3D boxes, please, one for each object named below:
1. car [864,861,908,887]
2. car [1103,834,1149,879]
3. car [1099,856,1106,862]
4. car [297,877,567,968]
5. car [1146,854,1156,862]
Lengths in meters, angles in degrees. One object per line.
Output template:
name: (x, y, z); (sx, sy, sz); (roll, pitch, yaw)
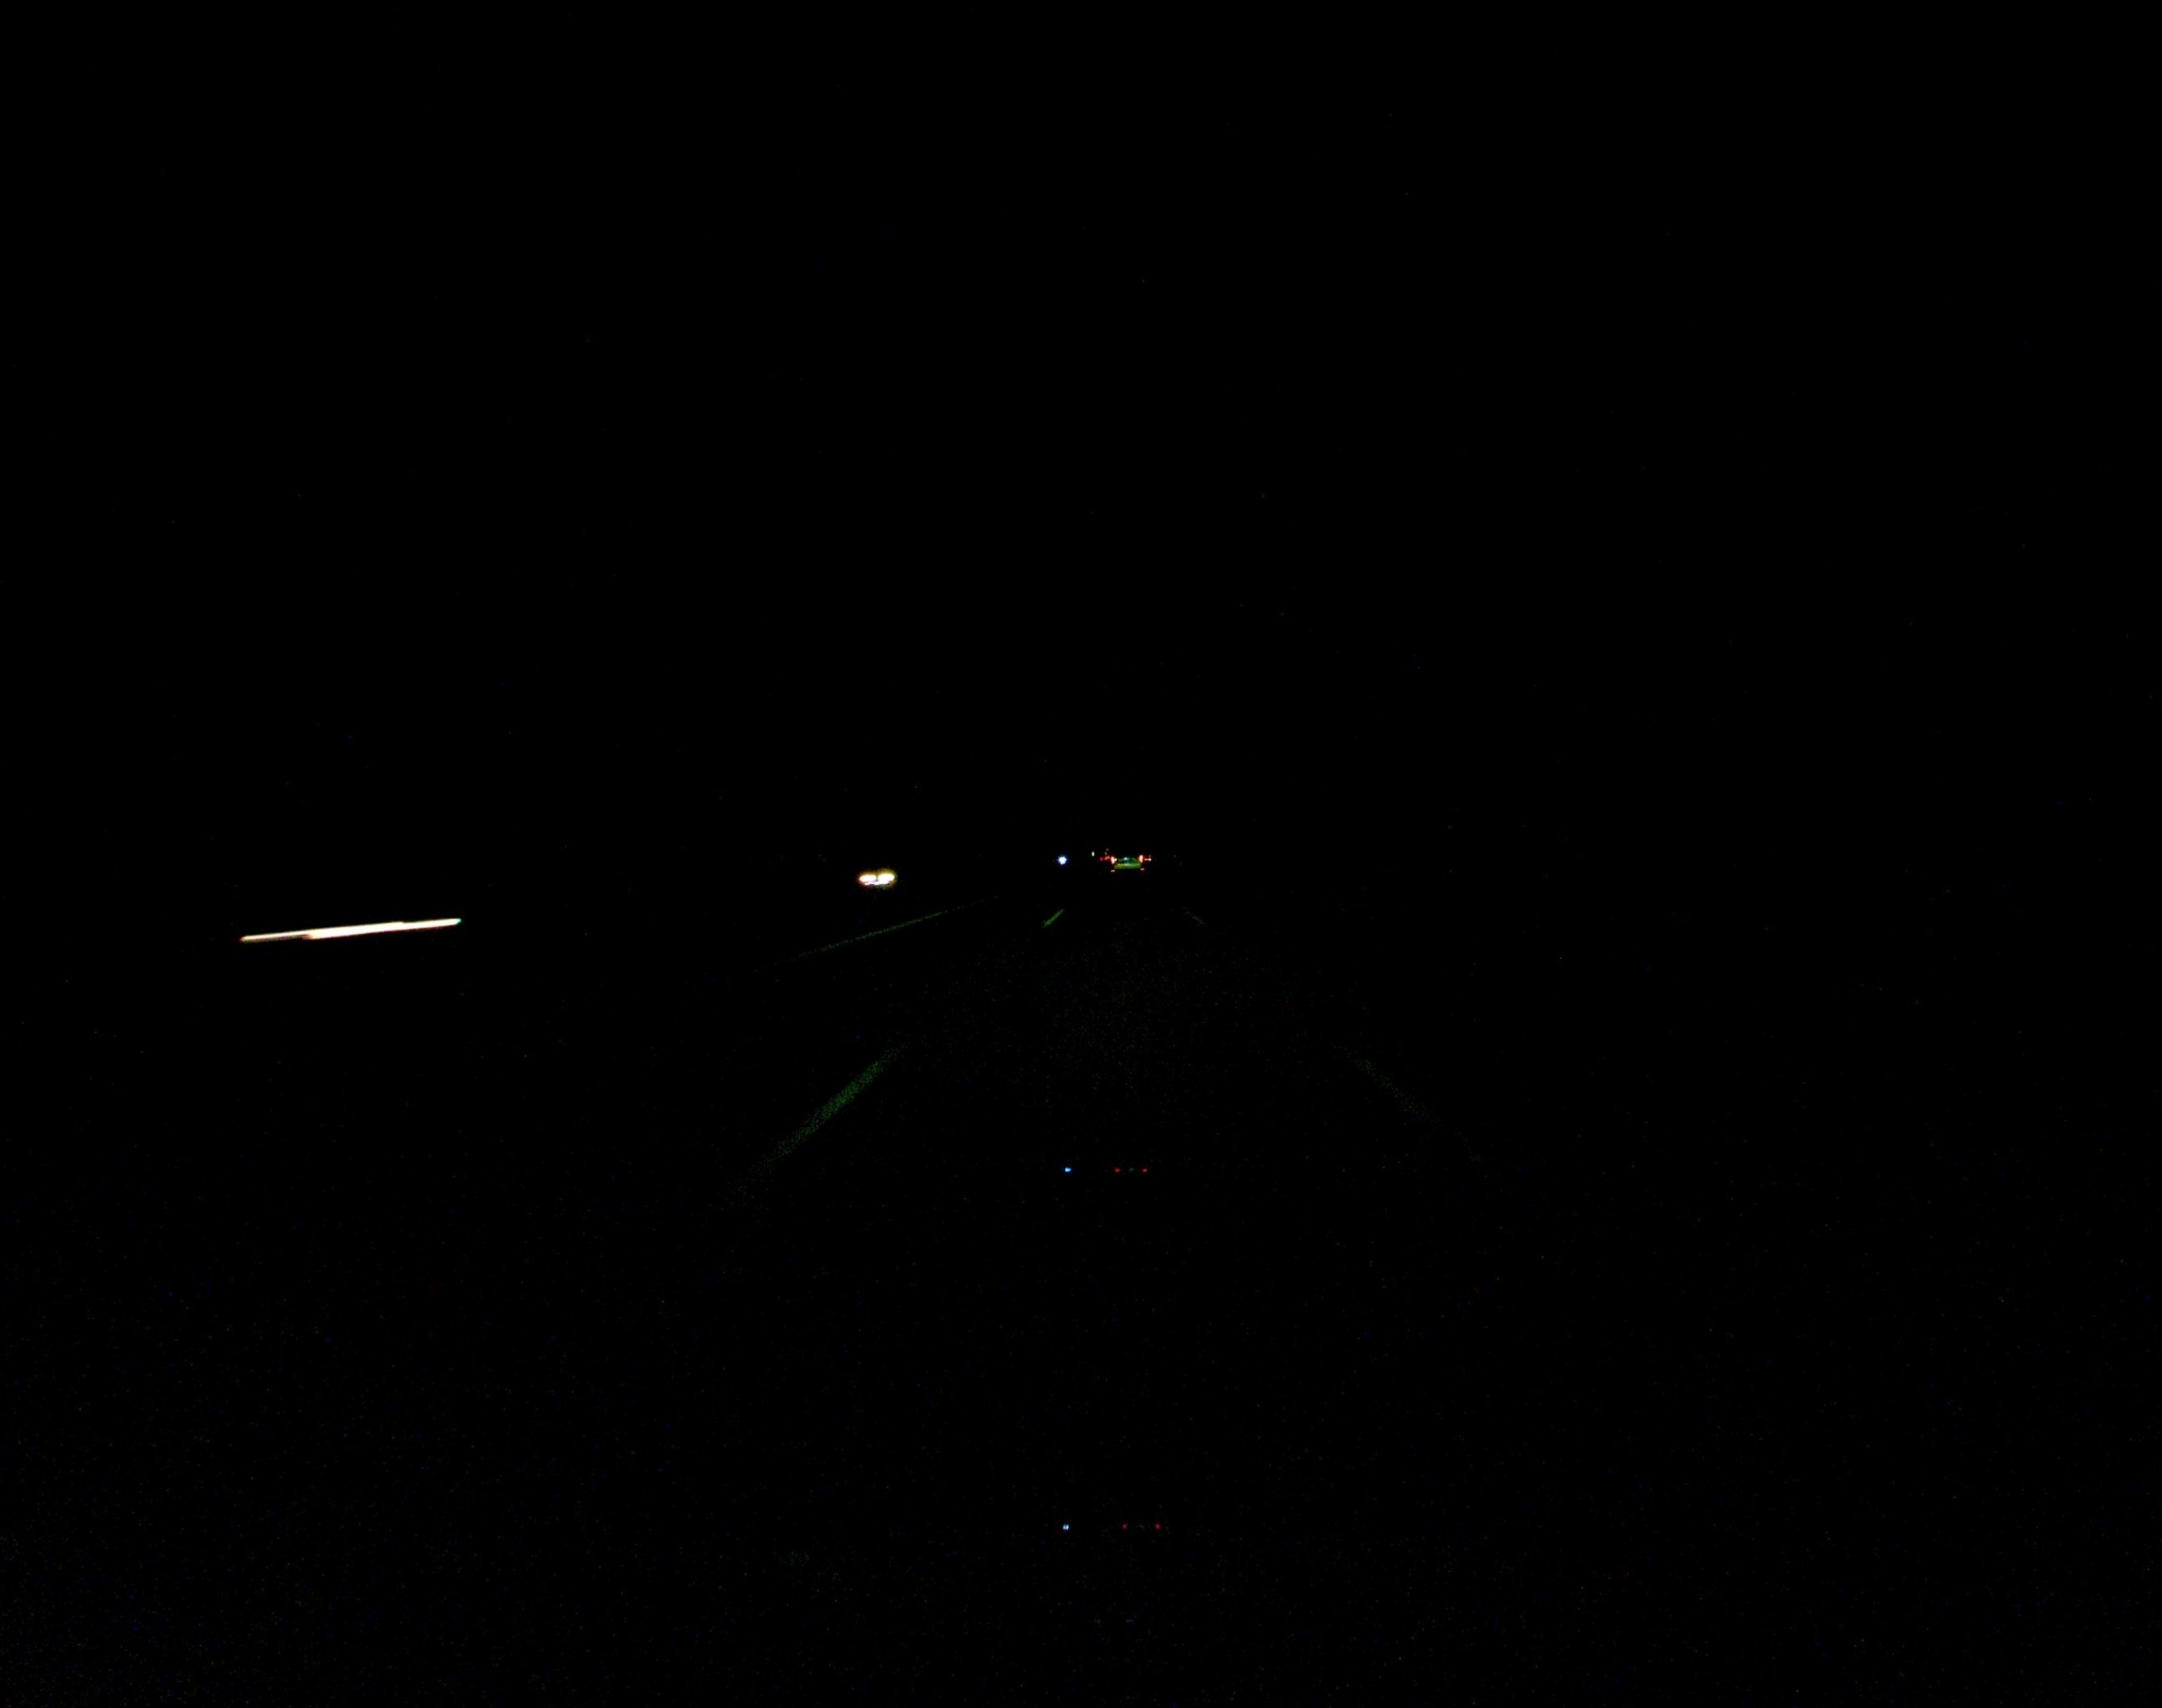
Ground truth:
car: (-15.734, 1.591, 65.960); (2.020, 1.968, 5.399); (-2, 0, 2)
car: (2.983, 0.184, 54.416); (2.775, 2.733, 6.303); (-2, 0, 2)
car: (6.683, 1.596, 253.664); (1.836, 1.640, 4.002); (-2, 0, 2)
car: (-14.327, 1.414, 18.473); (1.924, 1.604, 4.958); (-2, 0, 3)
car: (14.544, 0.889, 170.325); (1.836, 1.640, 4.002); (-2, 0, 2)
